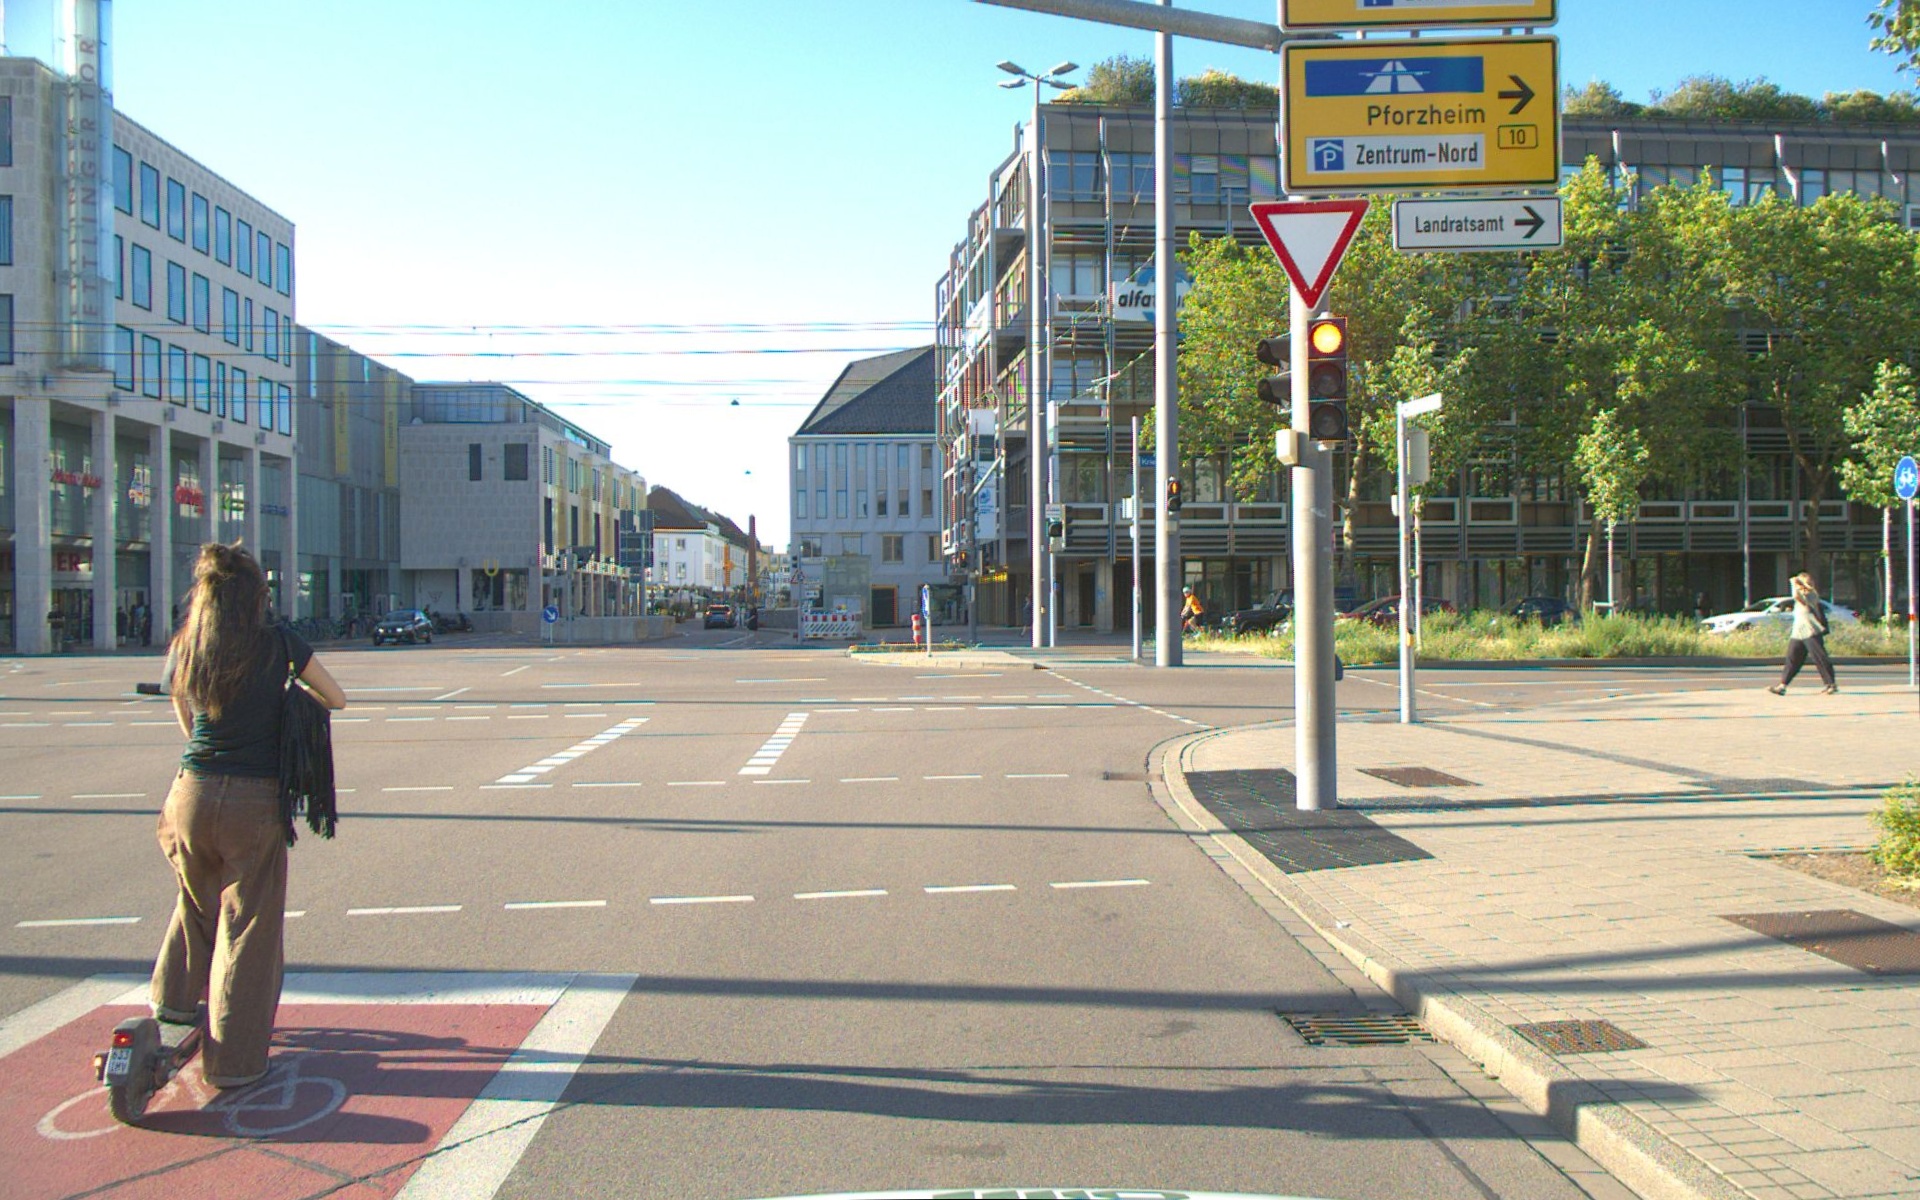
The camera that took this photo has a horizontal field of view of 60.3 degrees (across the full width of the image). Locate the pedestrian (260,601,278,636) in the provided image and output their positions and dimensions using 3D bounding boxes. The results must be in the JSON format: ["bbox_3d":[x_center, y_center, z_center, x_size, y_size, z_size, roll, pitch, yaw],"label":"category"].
[{"bbox_3d":[-33.002,0.864,78.984,0.641,1.671,0.693,-1,0,-9],"label":"pedestrian"}]

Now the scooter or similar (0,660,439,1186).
[{"bbox_3d":[-2.150,0.821,4.886,0.713,1.223,1.664,0,0,-1],"label":"scooter or similar"}]

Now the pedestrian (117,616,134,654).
[{"bbox_3d":[-35.094,1.468,69.551,0.472,1.613,0.513,-1,0,-5],"label":"pedestrian"}]

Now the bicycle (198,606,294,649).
[{"bbox_3d":[-29.322,1.116,68.025,3.427,1.726,1.114,-1,0,-10],"label":"bicycle"}]

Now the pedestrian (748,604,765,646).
[{"bbox_3d":[-8.258,1.014,67.149,0.650,1.687,0.755,-1,0,-4],"label":"pedestrian"}]

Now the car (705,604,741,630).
[{"bbox_3d":[-15.496,1.103,108.155,2.157,1.635,4.320,-1,0,-6],"label":"car"}]

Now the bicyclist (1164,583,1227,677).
[{"bbox_3d":[6.718,0.838,47.215,1.539,2.625,0.930,-1,0,-10],"label":"bicyclist"}]

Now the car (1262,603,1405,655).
[{"bbox_3d":[11.440,0.870,50.807,3.908,1.534,1.867,1,0,-4],"label":"car"}]

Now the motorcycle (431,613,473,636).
[{"bbox_3d":[-29.954,1.440,97.586,2.230,1.341,0.719,-1,0,-6],"label":"motorcycle"}]

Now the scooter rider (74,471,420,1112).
[{"bbox_3d":[-2.144,0.539,5.077,0.713,1.806,0.811,0,0,-1],"label":"scooter rider"}]

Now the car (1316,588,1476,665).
[{"bbox_3d":[12.231,0.739,46.570,3.908,2.049,1.999,1,0,-3],"label":"car"}]

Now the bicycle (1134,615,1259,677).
[{"bbox_3d":[6.748,1.307,47.214,3.427,1.688,0.929,-1,0,-10],"label":"bicycle"}]

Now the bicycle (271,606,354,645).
[{"bbox_3d":[-30.038,1.182,76.773,3.430,1.726,0.984,-1,0,-12],"label":"bicycle"}]

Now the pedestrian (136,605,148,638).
[{"bbox_3d":[-36.692,0.972,74.185,0.379,1.464,0.367,-1,0,-6],"label":"pedestrian"}]

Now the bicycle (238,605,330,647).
[{"bbox_3d":[-28.867,1.090,70.705,3.427,1.726,1.114,-1,0,-10],"label":"bicycle"}]

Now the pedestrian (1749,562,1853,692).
[{"bbox_3d":[11.040,0.342,21.729,0.787,1.658,0.939,-1,0,-14],"label":"pedestrian"}]

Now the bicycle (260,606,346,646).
[{"bbox_3d":[-29.573,1.171,74.486,3.430,1.726,0.984,-1,0,-12],"label":"bicycle"}]

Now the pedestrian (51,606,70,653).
[{"bbox_3d":[-32.132,1.039,59.076,0.535,1.671,0.544,-1,0,-33],"label":"pedestrian"}]

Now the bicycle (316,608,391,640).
[{"bbox_3d":[-30.884,1.216,84.258,3.430,1.554,0.984,-1,0,-12],"label":"bicycle"}]

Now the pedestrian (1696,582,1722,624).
[{"bbox_3d":[30.002,0.113,66.264,0.651,1.687,0.740,-1,0,-8],"label":"pedestrian"}]

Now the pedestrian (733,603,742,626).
[{"bbox_3d":[-14.068,0.917,104.579,0.598,1.436,0.569,-1,0,-7],"label":"pedestrian"}]

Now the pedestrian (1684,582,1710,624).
[{"bbox_3d":[29.966,0.117,67.241,0.651,1.687,0.740,-1,0,-8],"label":"pedestrian"}]

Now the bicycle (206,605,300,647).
[{"bbox_3d":[-29.548,1.075,69.185,3.427,1.726,1.114,-1,0,-10],"label":"bicycle"}]

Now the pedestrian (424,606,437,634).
[{"bbox_3d":[-31.315,1.190,97.813,0.683,1.671,0.694,-1,0,-23],"label":"pedestrian"}]

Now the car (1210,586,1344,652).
[{"bbox_3d":[10.305,0.604,53.911,3.908,2.049,1.999,1,0,-3],"label":"car"}]

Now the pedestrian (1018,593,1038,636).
[{"bbox_3d":[2.694,0.585,65.562,0.715,1.687,0.649,-1,0,-8],"label":"pedestrian"}]

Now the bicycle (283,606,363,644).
[{"bbox_3d":[-30.337,1.191,78.859,3.430,1.726,0.984,-1,0,-12],"label":"bicycle"}]

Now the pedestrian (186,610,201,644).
[{"bbox_3d":[-36.381,1.270,78.500,0.472,1.613,0.598,-1,0,-5],"label":"pedestrian"}]

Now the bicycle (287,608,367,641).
[{"bbox_3d":[-30.541,1.174,79.848,3.430,1.554,0.984,-1,0,-12],"label":"bicycle"}]

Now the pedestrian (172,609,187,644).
[{"bbox_3d":[-36.990,1.259,78.366,0.472,1.613,0.598,-1,0,-5],"label":"pedestrian"}]

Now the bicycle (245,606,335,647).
[{"bbox_3d":[-29.098,1.126,71.917,3.427,1.726,1.114,-1,0,-10],"label":"bicycle"}]

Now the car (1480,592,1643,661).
[{"bbox_3d":[18.827,0.828,51.871,4.359,2.049,1.998,1,0,-6],"label":"car"}]

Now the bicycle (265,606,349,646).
[{"bbox_3d":[-29.797,1.181,75.574,3.430,1.726,0.984,-1,0,-12],"label":"bicycle"}]

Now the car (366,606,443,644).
[{"bbox_3d":[-23.528,1.040,70.160,1.953,1.512,3.999,-1,0,-1],"label":"car"}]

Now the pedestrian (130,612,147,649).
[{"bbox_3d":[-34.867,1.298,70.217,0.472,1.537,0.513,-1,0,-5],"label":"pedestrian"}]

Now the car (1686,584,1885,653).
[{"bbox_3d":[26.172,0.587,52.567,5.332,2.049,2.096,1,0,-3],"label":"car"}]

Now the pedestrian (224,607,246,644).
[{"bbox_3d":[-33.613,1.172,76.705,0.770,1.671,0.693,-1,0,-10],"label":"pedestrian"}]
